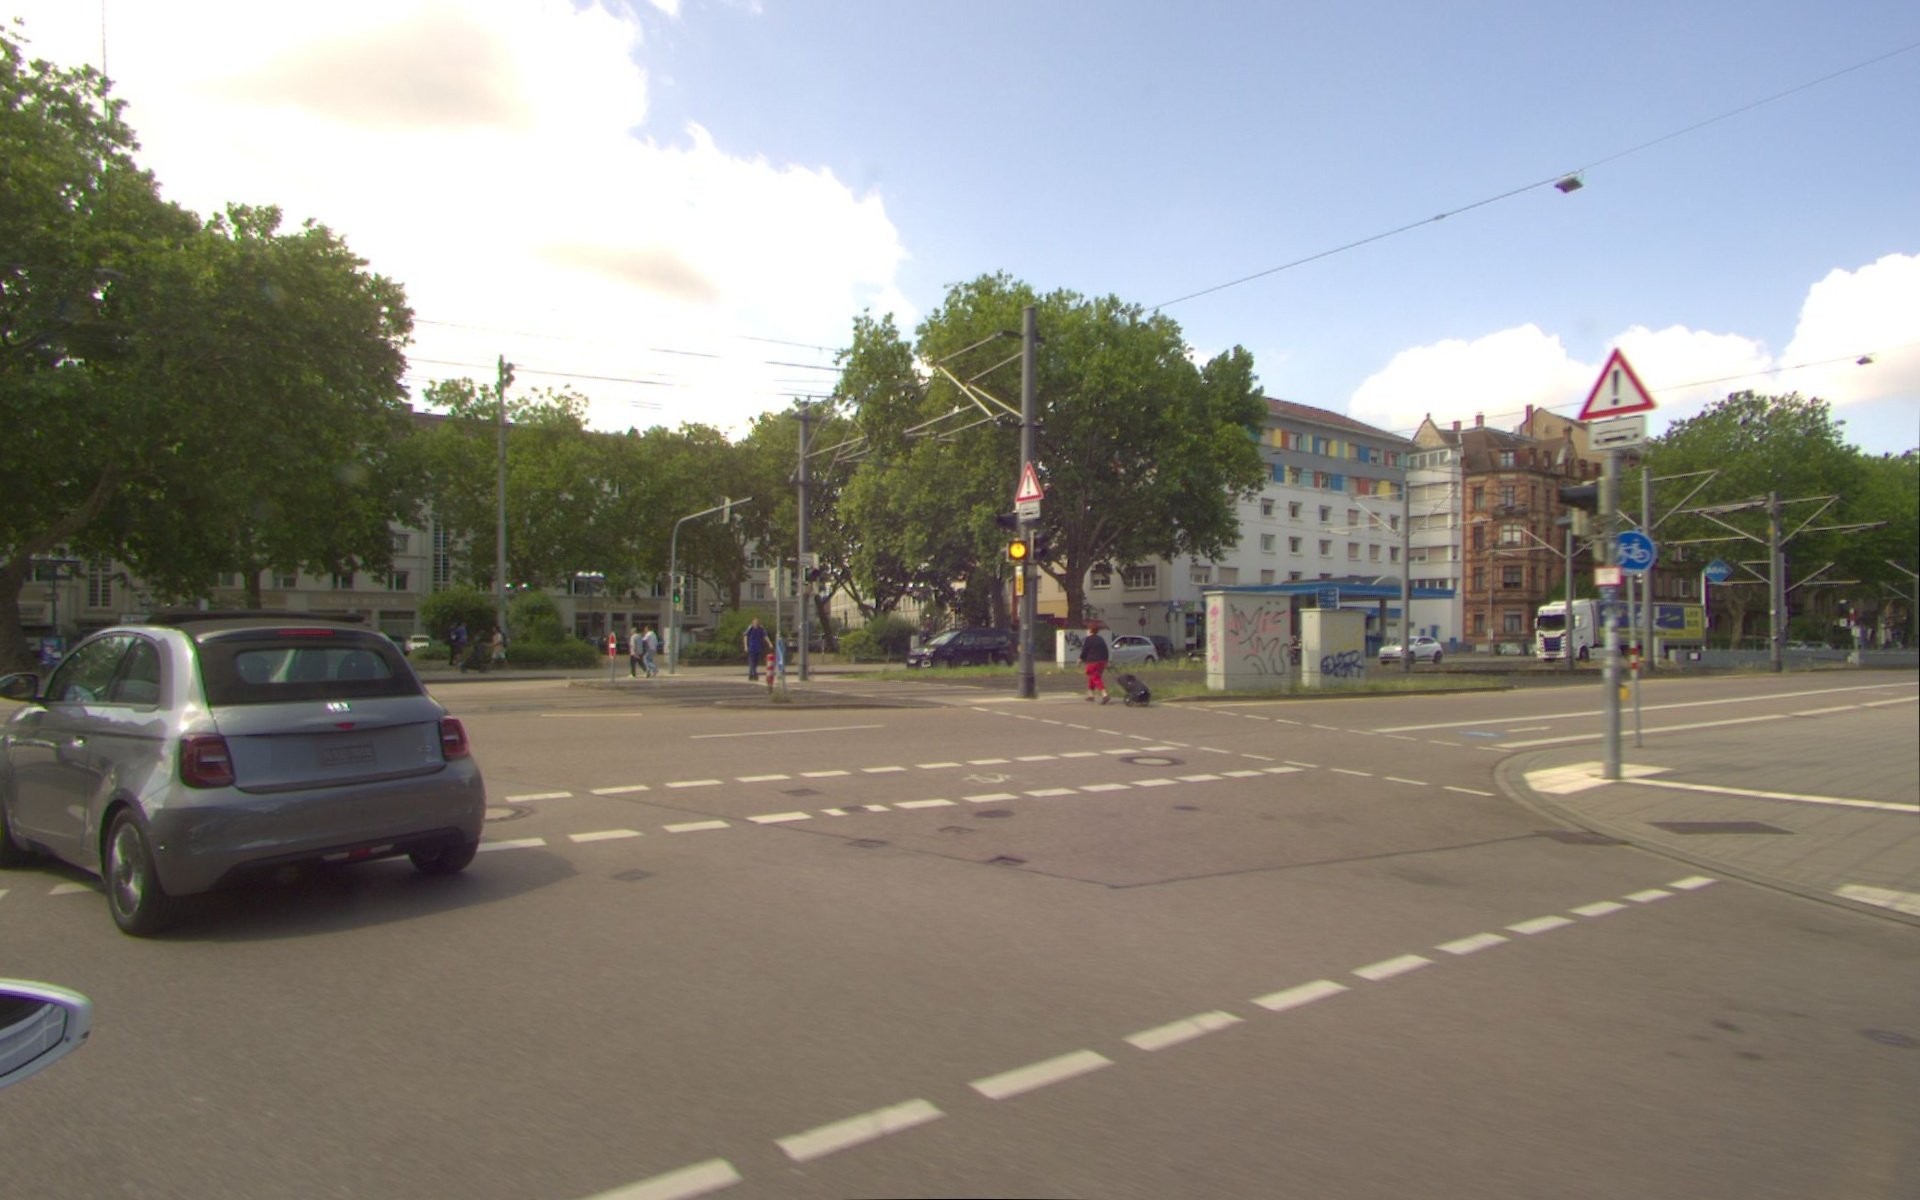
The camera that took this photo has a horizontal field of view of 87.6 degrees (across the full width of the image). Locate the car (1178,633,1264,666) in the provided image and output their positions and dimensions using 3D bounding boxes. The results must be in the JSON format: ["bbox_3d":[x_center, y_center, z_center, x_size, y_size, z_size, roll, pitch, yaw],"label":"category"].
[{"bbox_3d":[12.421,2.324,47.648,3.920,1.465,1.843,1,-1,-33],"label":"car"}]

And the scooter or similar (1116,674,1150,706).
[{"bbox_3d":[3.187,1.663,18.477,0.516,0.543,0.308,1,0,44],"label":"scooter or similar"}]

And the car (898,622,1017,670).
[{"bbox_3d":[-0.084,1.778,39.108,4.361,1.749,1.843,2,-2,-33],"label":"car"}]

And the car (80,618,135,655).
[{"bbox_3d":[-50.711,2.176,59.663,1.974,2.102,3.976,1,-2,-33],"label":"car"}]

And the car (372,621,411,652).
[{"bbox_3d":[-38.891,2.485,68.464,1.975,2.039,3.973,1,-2,-36],"label":"car"}]

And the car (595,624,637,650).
[{"bbox_3d":[-26.481,2.827,77.018,2.076,1.929,4.466,1,-2,-32],"label":"car"}]

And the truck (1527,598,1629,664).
[{"bbox_3d":[41.398,2.082,67.011,6.492,4.202,2.905,1,-2,-28],"label":"truck"}]

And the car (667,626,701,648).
[{"bbox_3d":[-25.032,3.371,90.789,1.973,1.989,3.978,1,-2,-32],"label":"car"}]

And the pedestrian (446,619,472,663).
[{"bbox_3d":[-20.478,1.679,40.931,0.597,1.773,0.695,0,-1,32],"label":"pedestrian"}]

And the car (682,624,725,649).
[{"bbox_3d":[-20.708,2.947,80.685,2.076,1.929,4.466,1,-2,-32],"label":"car"}]

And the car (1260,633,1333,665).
[{"bbox_3d":[17.214,2.497,51.176,3.704,1.583,1.676,2,-2,-34],"label":"car"}]

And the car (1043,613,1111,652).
[{"bbox_3d":[7.519,2.094,64.467,3.947,2.451,2.100,1,-2,-34],"label":"car"}]

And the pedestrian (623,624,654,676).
[{"bbox_3d":[-11.078,1.717,34.490,0.682,1.745,0.716,0,-1,32],"label":"pedestrian"}]

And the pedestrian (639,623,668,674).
[{"bbox_3d":[-10.734,1.693,35.092,0.682,1.786,0.667,0,-1,32],"label":"pedestrian"}]

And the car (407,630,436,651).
[{"bbox_3d":[-42.370,3.185,78.773,1.721,1.658,3.978,1,-2,-32],"label":"car"}]

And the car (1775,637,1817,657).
[{"bbox_3d":[73.336,4.097,87.781,3.948,1.651,1.793,1,-2,-34],"label":"car"}]

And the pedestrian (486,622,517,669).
[{"bbox_3d":[-16.225,1.608,35.418,0.910,1.667,0.567,1,-1,-33],"label":"pedestrian"}]

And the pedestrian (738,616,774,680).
[{"bbox_3d":[-5.681,1.325,27.866,0.734,1.753,0.767,1,-1,-35],"label":"pedestrian"}]

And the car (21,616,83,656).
[{"bbox_3d":[-52.537,2.081,58.033,1.974,2.210,4.232,1,-2,-33],"label":"car"}]

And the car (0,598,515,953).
[{"bbox_3d":[-4.468,0.803,6.070,3.420,1.557,1.688,0,-1,34],"label":"car"}]

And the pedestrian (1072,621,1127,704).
[{"bbox_3d":[2.635,1.168,18.971,0.767,1.511,0.652,2,0,44],"label":"pedestrian"}]

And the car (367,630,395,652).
[{"bbox_3d":[-44.642,3.132,77.183,1.721,1.658,3.978,1,-2,-32],"label":"car"}]

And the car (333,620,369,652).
[{"bbox_3d":[-41.061,2.429,67.462,1.973,2.039,3.977,1,-2,-33],"label":"car"}]

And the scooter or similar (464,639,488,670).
[{"bbox_3d":[-16.905,1.883,34.976,0.699,1.070,0.488,1,-1,-33],"label":"scooter or similar"}]

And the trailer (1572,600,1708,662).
[{"bbox_3d":[47.930,2.191,70.440,11.476,4.129,2.905,1,-2,-28],"label":"trailer"}]

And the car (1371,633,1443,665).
[{"bbox_3d":[25.559,2.788,57.232,4.080,1.727,1.843,2,-2,-33],"label":"car"}]

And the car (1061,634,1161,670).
[{"bbox_3d":[6.588,2.238,43.543,4.271,1.484,1.723,2,-2,-34],"label":"car"}]
